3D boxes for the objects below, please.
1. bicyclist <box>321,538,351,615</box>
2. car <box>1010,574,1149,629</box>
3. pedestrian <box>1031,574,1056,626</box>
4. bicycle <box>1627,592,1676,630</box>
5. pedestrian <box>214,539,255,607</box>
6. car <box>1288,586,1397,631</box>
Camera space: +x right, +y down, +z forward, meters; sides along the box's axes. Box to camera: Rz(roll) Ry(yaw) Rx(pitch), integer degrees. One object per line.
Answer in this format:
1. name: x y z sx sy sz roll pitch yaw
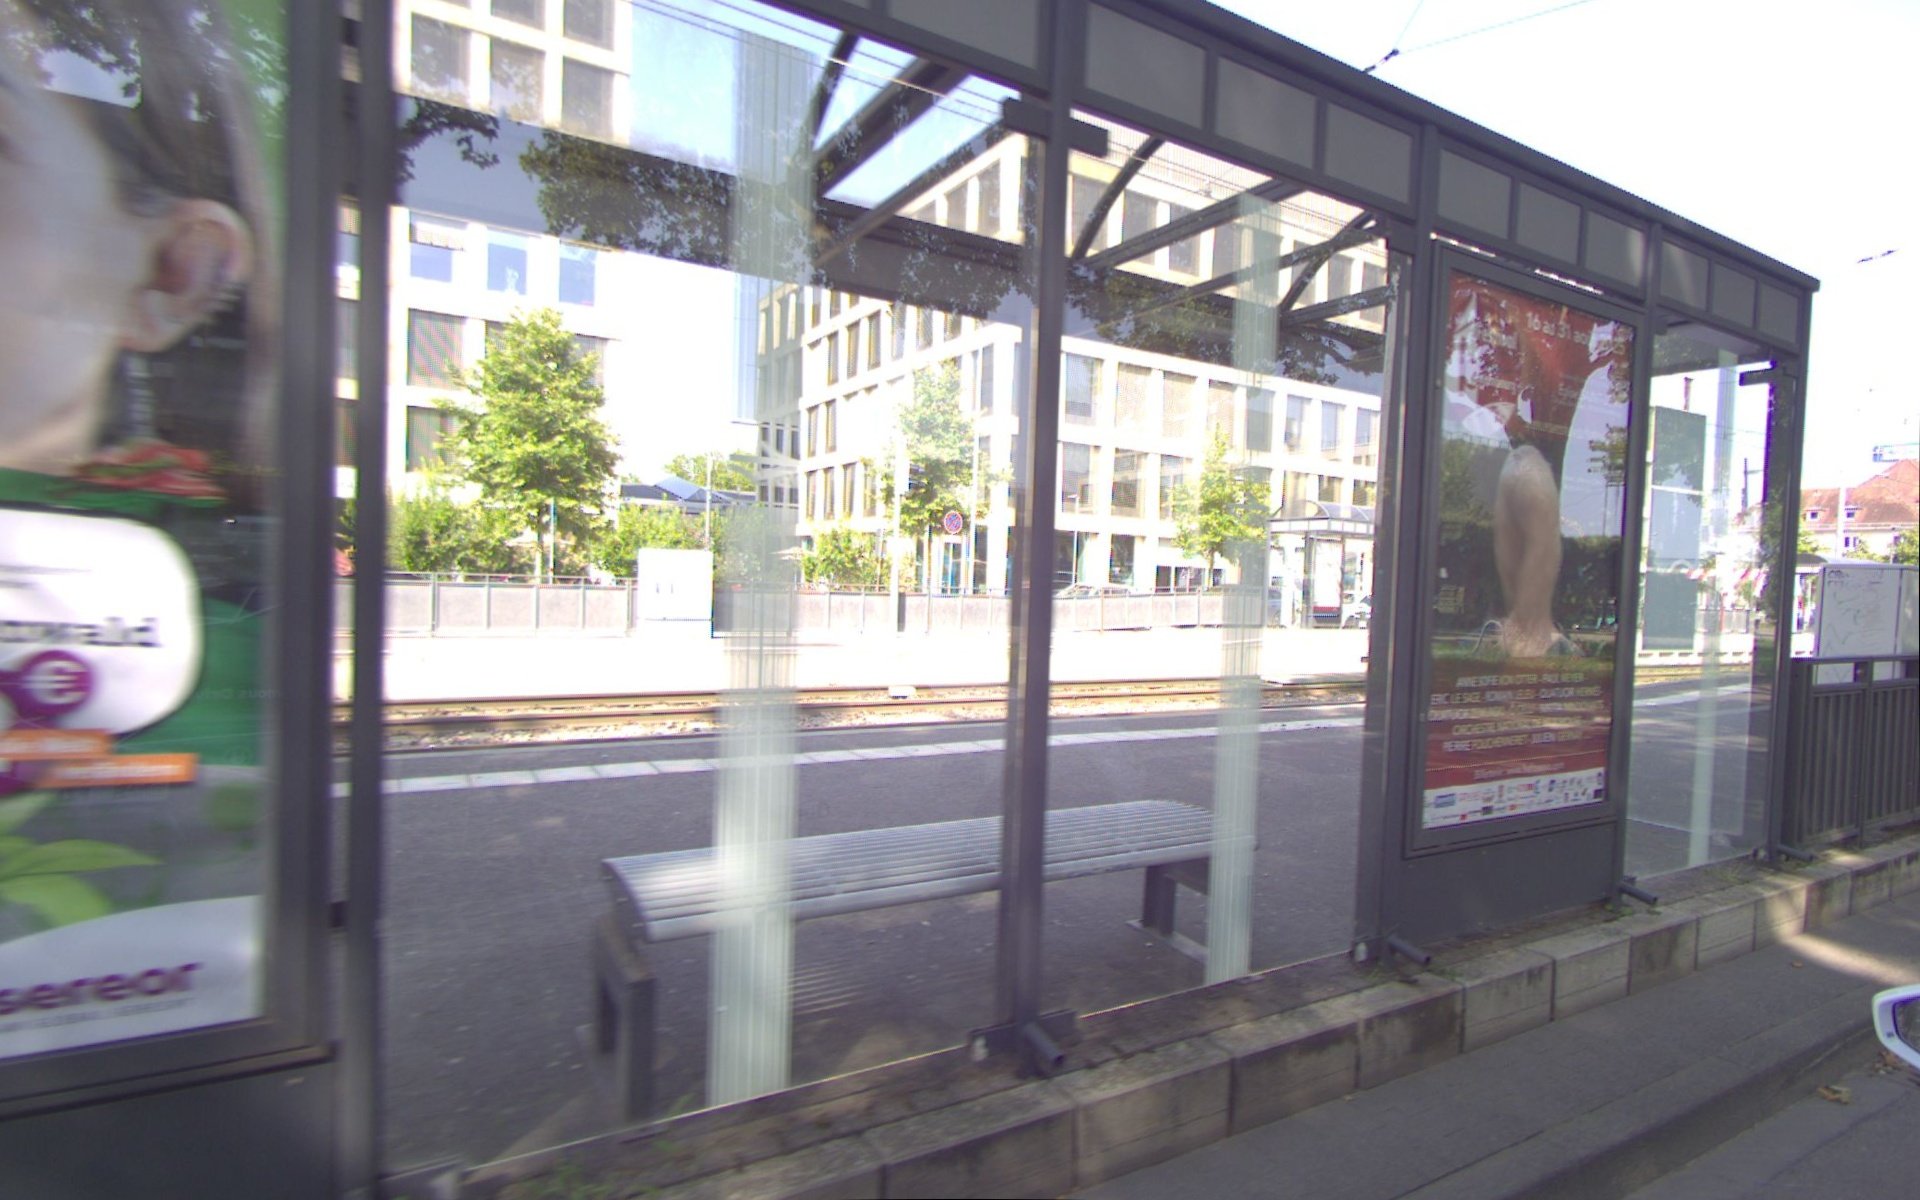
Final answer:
1. bicyclist: -11.444 -0.429 18.436 0.442 1.379 0.385 1 2 -31
2. car: 3.718 0.069 31.146 4.087 1.595 1.754 1 0 -32
3. pedestrian: 3.286 0.012 39.529 0.813 2.040 0.560 2 -2 -31
4. bicycle: 22.608 0.365 32.852 1.459 1.163 0.471 2 2 -16
5. pedestrian: -22.347 -0.821 30.955 0.902 2.041 0.724 1 1 -29
6. car: 14.406 0.311 37.765 4.087 1.595 1.754 1 0 -32
